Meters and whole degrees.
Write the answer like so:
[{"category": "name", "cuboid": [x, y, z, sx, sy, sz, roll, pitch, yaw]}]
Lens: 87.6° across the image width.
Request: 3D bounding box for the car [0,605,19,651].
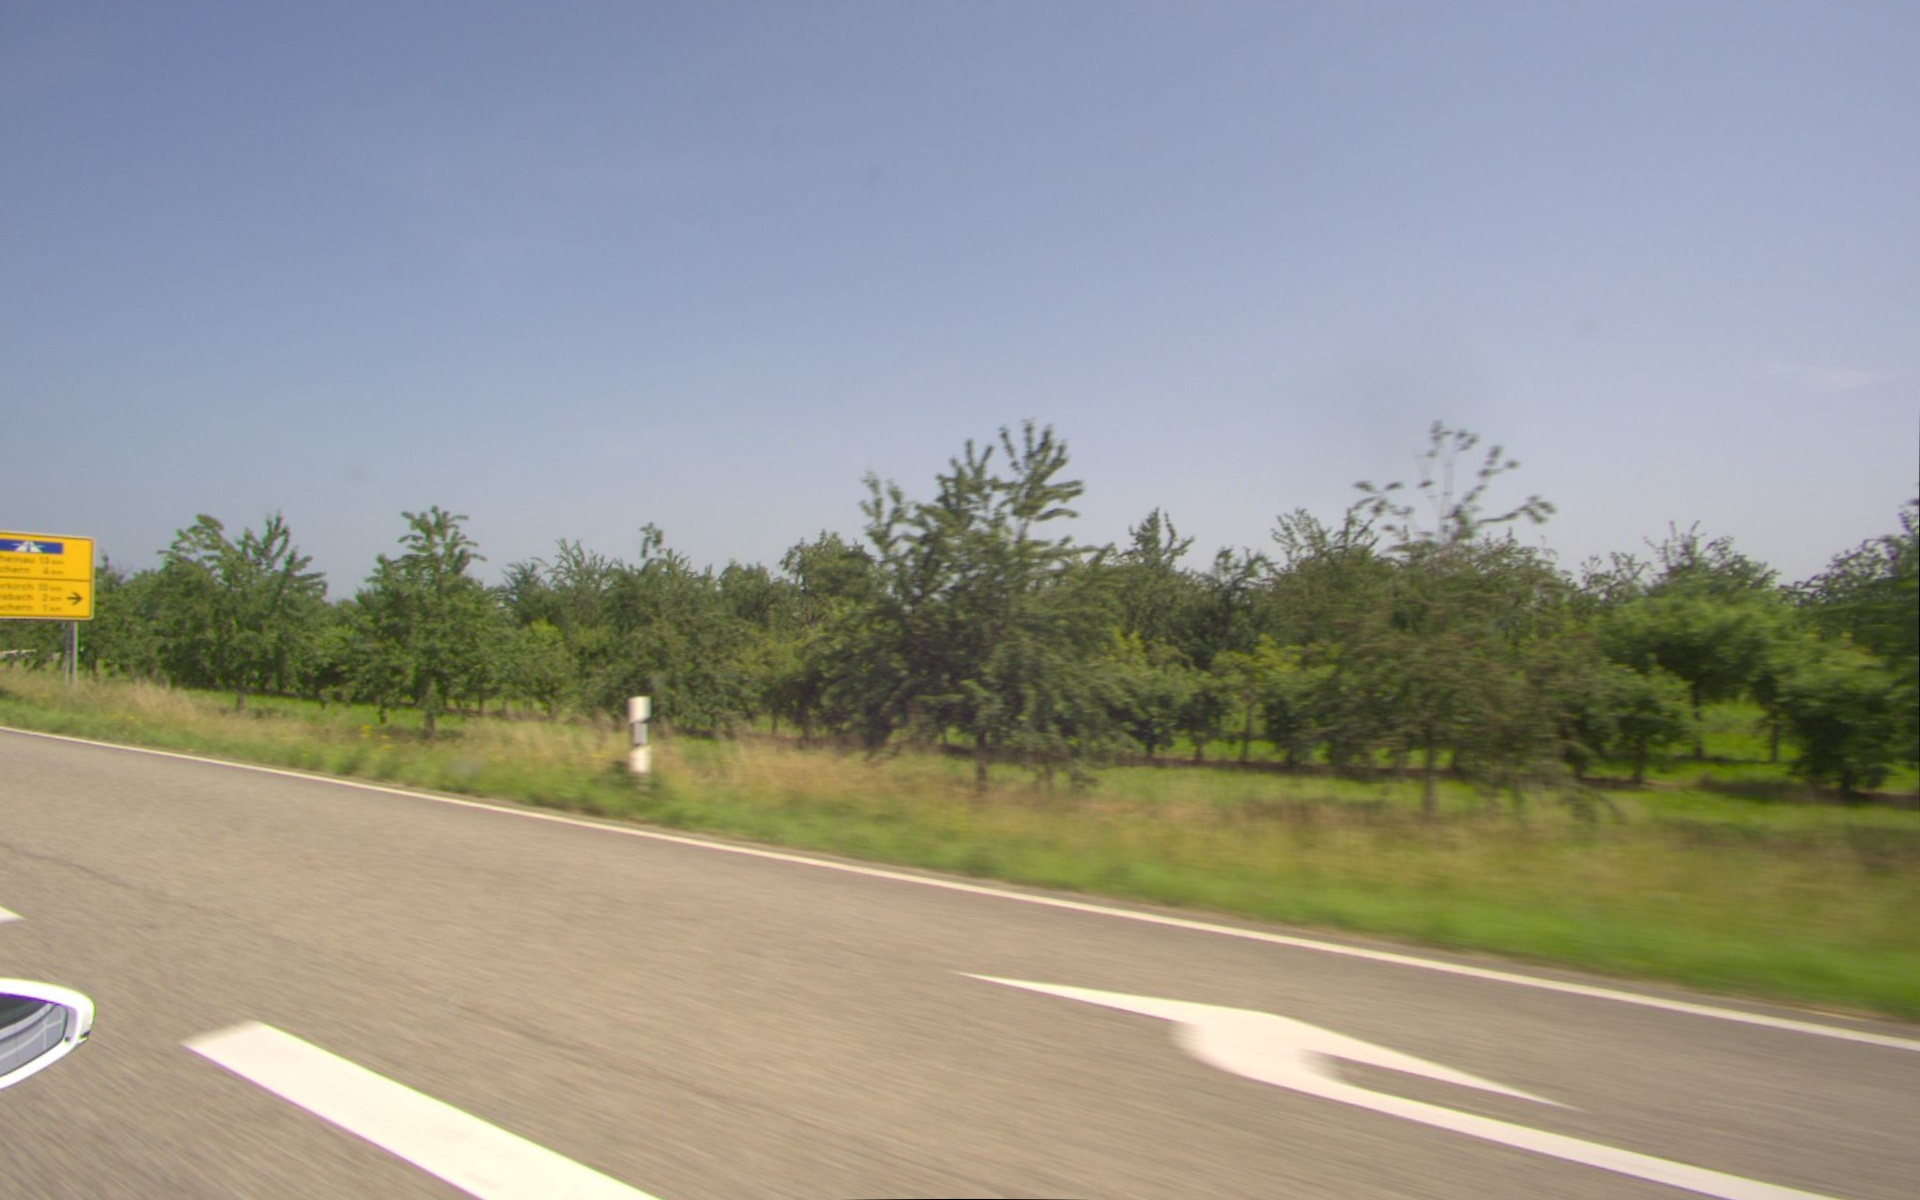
[{"category": "car", "cuboid": [-57.340, 1.626, 56.273, 2.037, 2.608, 6.267, -1, -1, 38]}]
